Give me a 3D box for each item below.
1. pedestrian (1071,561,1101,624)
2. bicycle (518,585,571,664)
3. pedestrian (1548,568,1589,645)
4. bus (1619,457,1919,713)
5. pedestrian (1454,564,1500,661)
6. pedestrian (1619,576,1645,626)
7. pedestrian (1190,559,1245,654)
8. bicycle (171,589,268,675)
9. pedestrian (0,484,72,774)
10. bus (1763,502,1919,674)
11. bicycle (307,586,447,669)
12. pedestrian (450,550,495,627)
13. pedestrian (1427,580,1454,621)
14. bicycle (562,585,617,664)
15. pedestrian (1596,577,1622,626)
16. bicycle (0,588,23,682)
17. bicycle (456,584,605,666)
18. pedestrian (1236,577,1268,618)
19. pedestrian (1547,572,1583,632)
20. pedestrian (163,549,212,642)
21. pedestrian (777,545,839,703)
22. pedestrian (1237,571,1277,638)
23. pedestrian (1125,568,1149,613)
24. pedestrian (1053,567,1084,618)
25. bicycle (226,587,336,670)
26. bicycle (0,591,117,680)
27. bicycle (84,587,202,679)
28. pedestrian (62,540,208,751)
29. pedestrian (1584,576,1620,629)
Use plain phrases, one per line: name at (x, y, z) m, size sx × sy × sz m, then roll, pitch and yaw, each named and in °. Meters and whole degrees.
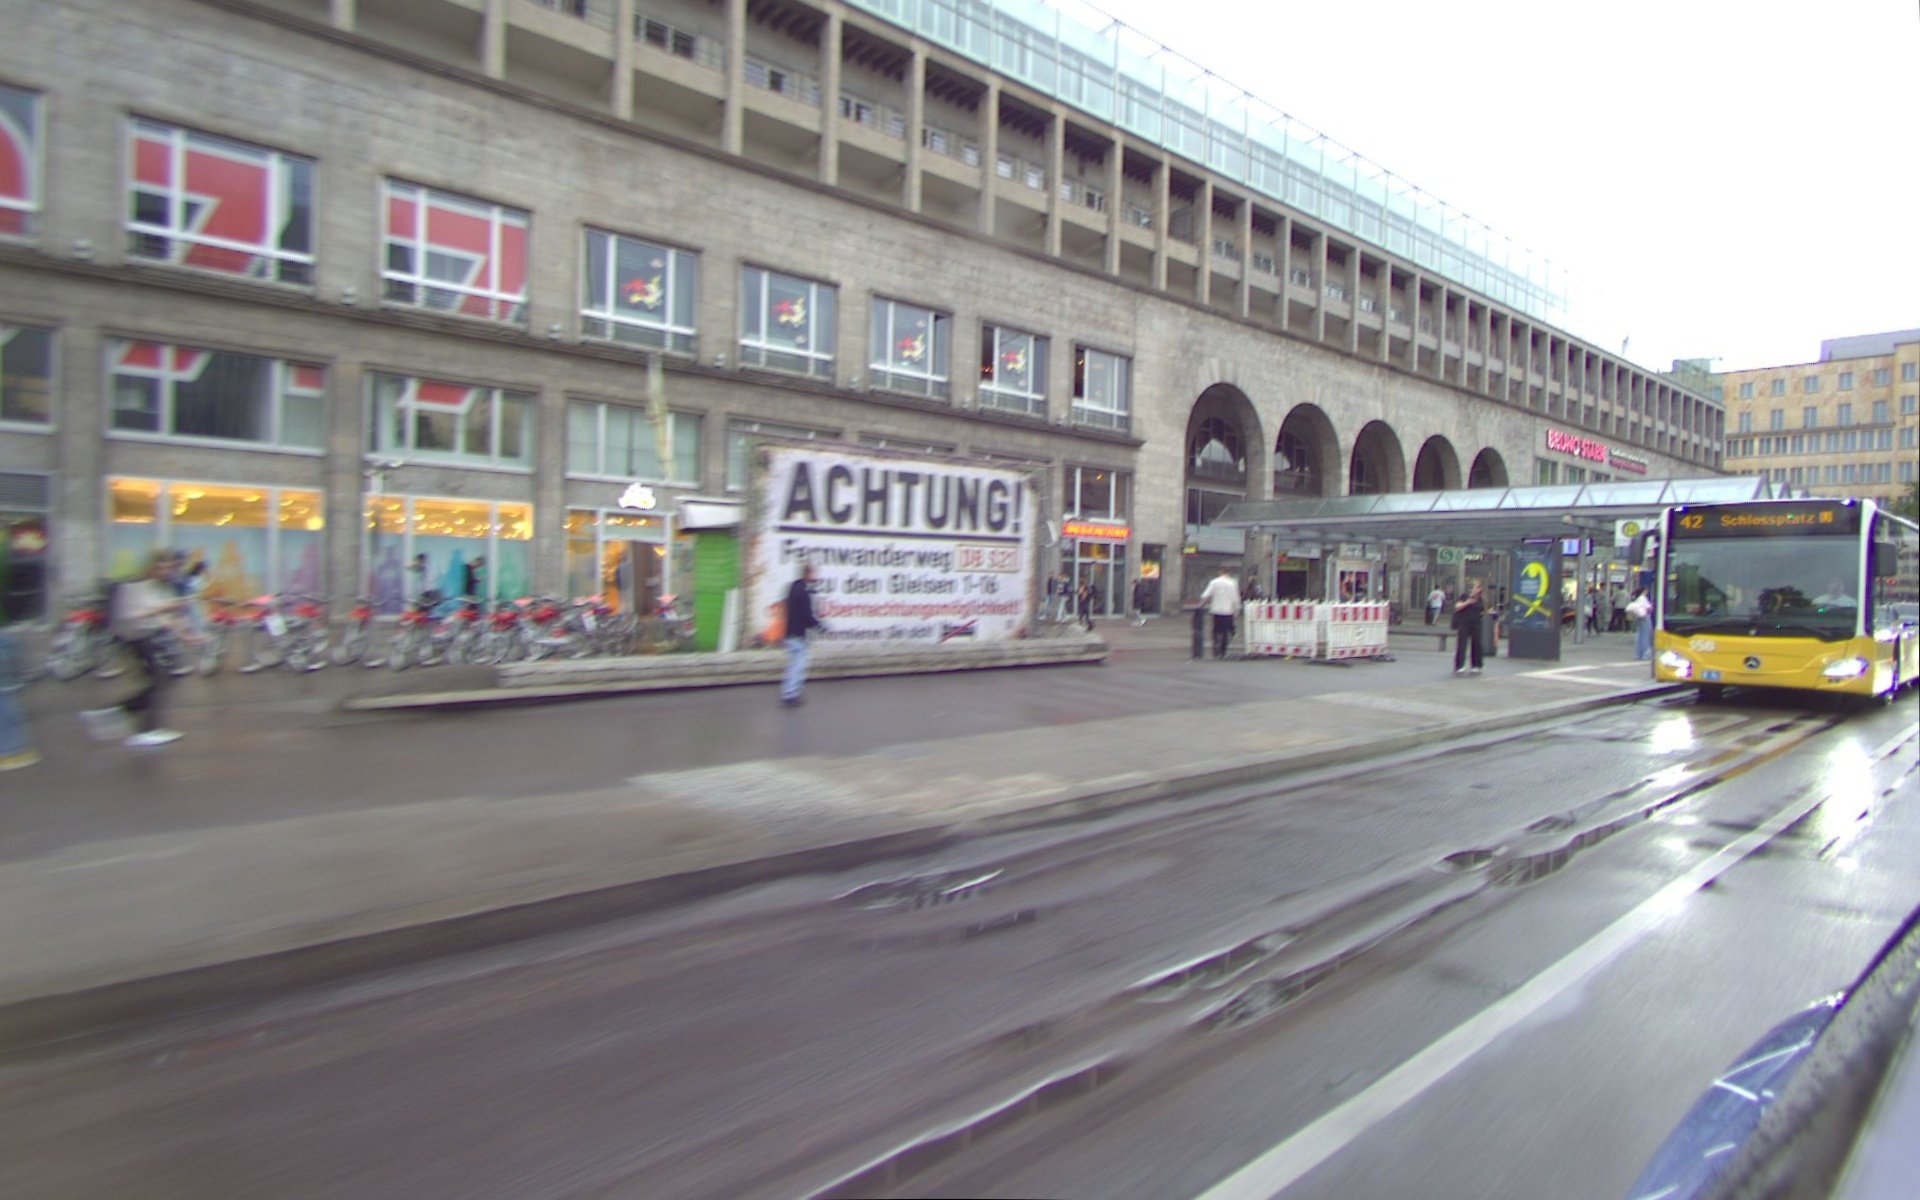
pedestrian at (3.991, -0.244, 31.976) m, size 0.781 × 1.953 × 0.649 m, roll 1°, pitch 1°, yaw 26°
bicycle at (-7.397, 0.402, 17.966) m, size 0.605 × 1.252 × 1.999 m, roll 0°, pitch 3°, yaw -30°
pedestrian at (15.810, 0.152, 26.287) m, size 0.792 × 1.953 × 0.695 m, roll 1°, pitch 1°, yaw 40°
bus at (14.383, -0.272, 16.997) m, size 9.080 × 3.245 × 3.119 m, roll -1°, pitch 1°, yaw -41°
pedestrian at (8.960, 0.204, 17.540) m, size 0.592 × 1.639 × 0.504 m, roll -1°, pitch 0°, yaw 40°
pedestrian at (25.552, 0.038, 38.478) m, size 0.612 × 1.883 × 0.609 m, roll 0°, pitch 0°, yaw -30°
pedestrian at (5.067, 0.117, 19.905) m, size 0.741 × 1.815 × 0.736 m, roll 0°, pitch 1°, yaw -25°
bicycle at (-10.801, 0.434, 14.743) m, size 1.685 × 1.122 × 0.666 m, roll 3°, pitch 3°, yaw 36°
pedestrian at (-6.756, 0.191, 7.038) m, size 0.705 × 1.956 × 0.777 m, roll 1°, pitch 1°, yaw 40°
bus at (21.277, -0.312, 22.851) m, size 8.973 × 3.288 × 3.147 m, roll -1°, pitch 1°, yaw -40°
bicycle at (-9.150, 0.396, 15.887) m, size 2.068 × 1.153 × 0.883 m, roll 3°, pitch 2°, yaw 25°
pedestrian at (-11.131, -0.269, 23.097) m, size 0.762 × 1.718 × 0.723 m, roll -1°, pitch 0°, yaw -41°
pedestrian at (19.834, 0.016, 41.755) m, size 0.792 × 1.639 × 0.859 m, roll 1°, pitch 1°, yaw 40°
bicycle at (-6.568, 0.395, 17.881) m, size 0.605 × 1.252 × 1.999 m, roll 0°, pitch 3°, yaw -29°
pedestrian at (25.176, 0.042, 39.250) m, size 0.579 × 1.898 × 0.598 m, roll 0°, pitch 0°, yaw -6°
bicycle at (-13.337, 0.409, 13.455) m, size 2.872 × 1.122 × 0.868 m, roll 3°, pitch 3°, yaw 38°
bicycle at (-6.968, 0.396, 16.499) m, size 2.144 × 1.252 × 0.619 m, roll 1°, pitch 2°, yaw -5°
pedestrian at (11.565, -0.101, 40.078) m, size 0.973 × 1.609 × 0.789 m, roll 0°, pitch 1°, yaw -3°
pedestrian at (18.928, 0.053, 31.675) m, size 0.780 × 1.827 × 0.985 m, roll 1°, pitch 1°, yaw 22°
pedestrian at (-14.530, -0.086, 19.043) m, size 0.696 × 1.710 × 0.598 m, roll -1°, pitch 1°, yaw -40°
pedestrian at (-1.637, 0.241, 10.858) m, size 0.491 × 1.639 × 0.654 m, roll 0°, pitch 1°, yaw -25°
pedestrian at (8.250, 0.115, 28.092) m, size 0.981 × 1.815 × 0.783 m, roll 1°, pitch 1°, yaw 22°
pedestrian at (6.101, -0.326, 34.864) m, size 0.682 × 1.540 × 0.585 m, roll 1°, pitch 1°, yaw 26°
pedestrian at (3.866, -0.278, 36.047) m, size 0.973 × 1.815 × 0.789 m, roll 0°, pitch 1°, yaw -3°
bicycle at (-10.316, 0.403, 15.367) m, size 1.720 × 1.122 × 0.681 m, roll 3°, pitch 2°, yaw 28°
bicycle at (-12.298, 0.448, 13.772) m, size 2.218 × 1.123 × 0.733 m, roll 0°, pitch 0°, yaw 35°
bicycle at (-11.550, 0.425, 14.290) m, size 1.971 × 1.122 × 0.815 m, roll 3°, pitch 3°, yaw 36°
pedestrian at (-6.891, 0.349, 8.498) m, size 0.773 × 1.662 × 0.790 m, roll 0°, pitch 1°, yaw -25°
pedestrian at (21.368, 0.071, 33.703) m, size 0.885 × 1.716 × 0.751 m, roll 0°, pitch 0°, yaw -36°
